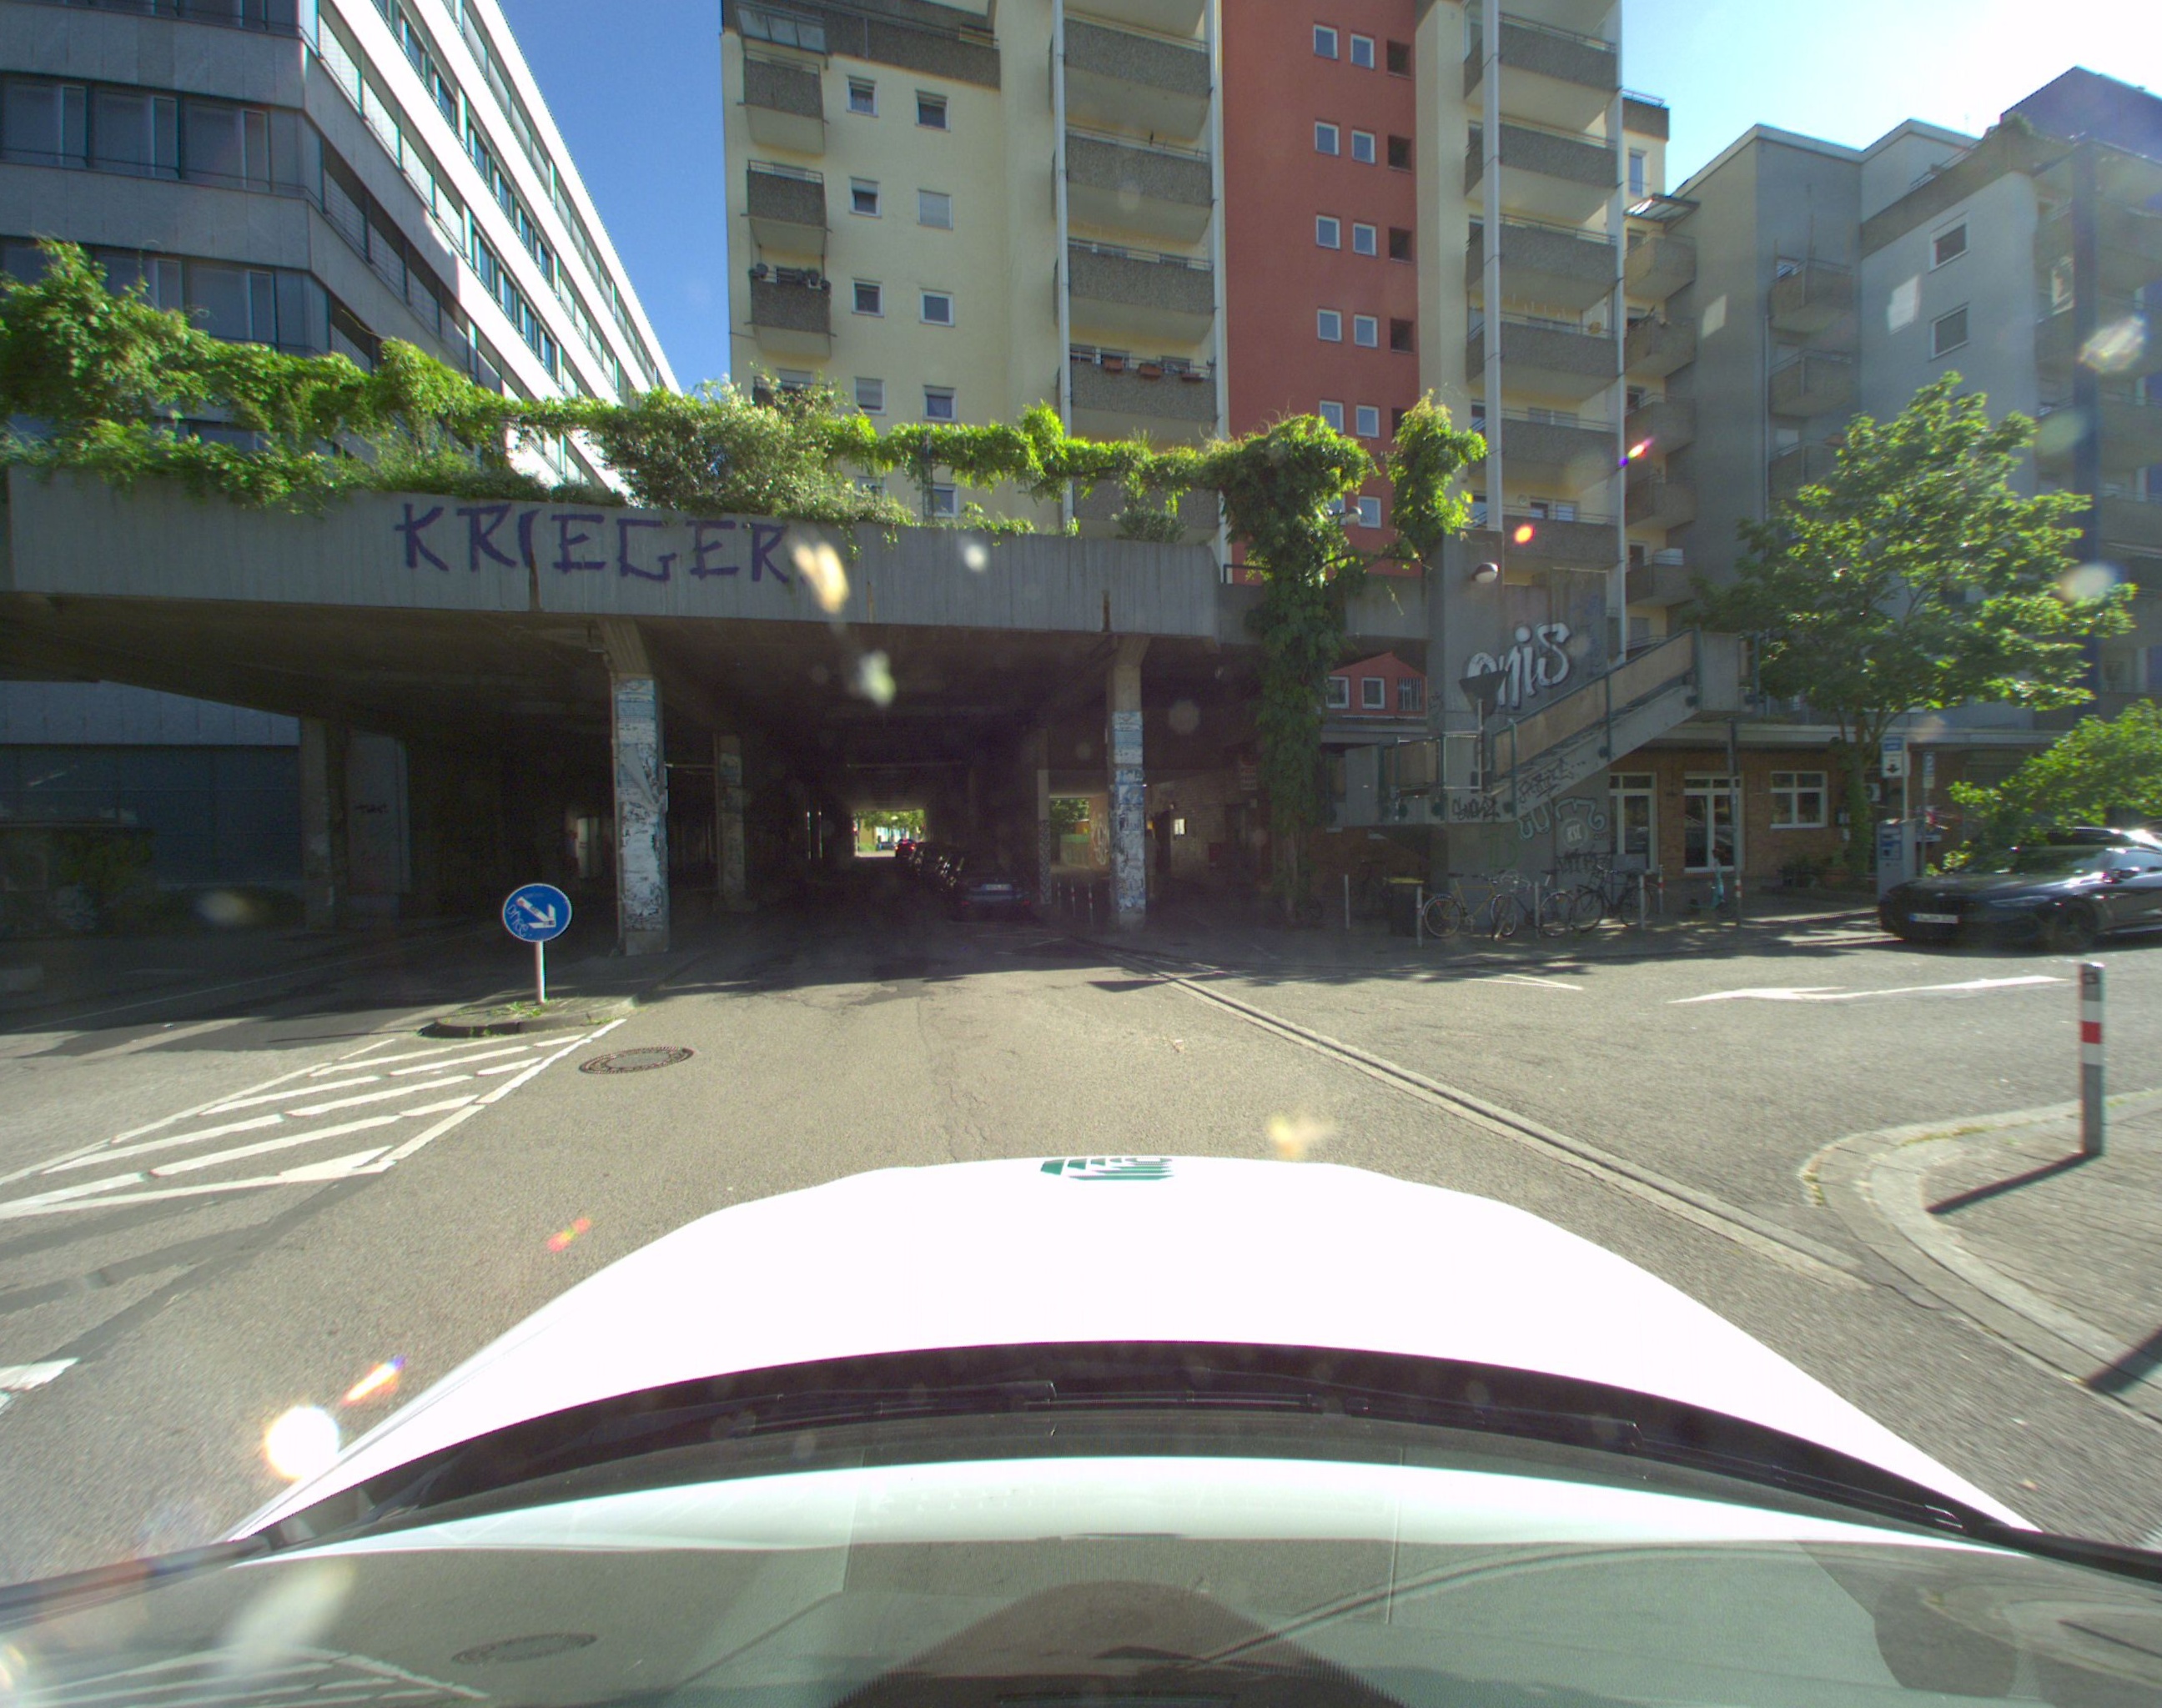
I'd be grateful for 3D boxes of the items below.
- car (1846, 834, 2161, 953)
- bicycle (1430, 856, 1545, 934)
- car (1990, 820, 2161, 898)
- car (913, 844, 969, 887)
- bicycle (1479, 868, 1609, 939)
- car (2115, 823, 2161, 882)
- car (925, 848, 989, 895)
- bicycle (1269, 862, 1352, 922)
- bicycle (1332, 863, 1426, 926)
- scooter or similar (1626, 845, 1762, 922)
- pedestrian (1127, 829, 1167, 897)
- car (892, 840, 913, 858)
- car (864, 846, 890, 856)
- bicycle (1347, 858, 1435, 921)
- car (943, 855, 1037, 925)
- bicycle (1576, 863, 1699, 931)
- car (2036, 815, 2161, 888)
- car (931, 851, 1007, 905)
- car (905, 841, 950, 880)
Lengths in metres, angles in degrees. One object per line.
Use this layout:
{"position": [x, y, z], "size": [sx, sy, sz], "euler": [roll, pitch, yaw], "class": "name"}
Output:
{"position": [13.684, 0.471, 11.553], "size": [4.518, 1.398, 1.889], "euler": [-2, 0, -12], "class": "car"}
{"position": [6.703, 0.672, 13.468], "size": [1.619, 1.237, 0.461], "euler": [-2, 0, 8], "class": "bicycle"}
{"position": [22.318, 0.083, 17.092], "size": [1.768, 1.551, 3.977], "euler": [-2, 1, -17], "class": "car"}
{"position": [-5.757, 0.425, 33.084], "size": [1.734, 1.546, 4.132], "euler": [-2, 1, -17], "class": "car"}
{"position": [7.272, 0.775, 12.830], "size": [1.789, 1.030, 0.416], "euler": [-1, 4, 2], "class": "bicycle"}
{"position": [27.250, -0.044, 18.720], "size": [1.686, 1.424, 3.977], "euler": [-2, 1, -17], "class": "car"}
{"position": [-4.384, 0.561, 28.446], "size": [1.608, 1.487, 3.616], "euler": [-2, 1, -18], "class": "car"}
{"position": [4.262, 0.673, 15.255], "size": [0.485, 1.001, 1.789], "euler": [-3, 2, -21], "class": "bicycle"}
{"position": [5.302, 0.701, 14.568], "size": [0.417, 1.001, 1.600], "euler": [-4, 4, -36], "class": "bicycle"}
{"position": [11.146, 0.497, 14.890], "size": [0.631, 1.277, 1.961], "euler": [-2, 1, -18], "class": "scooter or similar"}
{"position": [1.690, 0.217, 20.953], "size": [0.795, 1.699, 0.754], "euler": [-2, 3, -15], "class": "pedestrian"}
{"position": [-16.483, -0.482, 75.091], "size": [1.828, 1.500, 4.193], "euler": [-2, 1, -13], "class": "car"}
{"position": [-33.897, -0.486, 135.568], "size": [3.987, 1.574, 1.634], "euler": [-2, 1, -10], "class": "car"}
{"position": [5.708, 0.630, 15.089], "size": [0.415, 1.001, 1.790], "euler": [-3, 3, -21], "class": "bicycle"}
{"position": [-2.309, 0.771, 19.578], "size": [1.852, 1.433, 4.588], "euler": [0, 0, -12], "class": "car"}
{"position": [9.095, 0.686, 13.321], "size": [1.793, 1.000, 0.415], "euler": [-2, 4, -5], "class": "bicycle"}
{"position": [24.726, -0.074, 18.213], "size": [1.840, 1.607, 3.977], "euler": [-2, 1, -17], "class": "car"}
{"position": [-3.411, 0.643, 24.170], "size": [1.764, 1.410, 4.043], "euler": [-2, 1, -14], "class": "car"}
{"position": [-7.294, 0.250, 38.450], "size": [1.855, 1.665, 4.350], "euler": [-1, 2, -14], "class": "car"}
